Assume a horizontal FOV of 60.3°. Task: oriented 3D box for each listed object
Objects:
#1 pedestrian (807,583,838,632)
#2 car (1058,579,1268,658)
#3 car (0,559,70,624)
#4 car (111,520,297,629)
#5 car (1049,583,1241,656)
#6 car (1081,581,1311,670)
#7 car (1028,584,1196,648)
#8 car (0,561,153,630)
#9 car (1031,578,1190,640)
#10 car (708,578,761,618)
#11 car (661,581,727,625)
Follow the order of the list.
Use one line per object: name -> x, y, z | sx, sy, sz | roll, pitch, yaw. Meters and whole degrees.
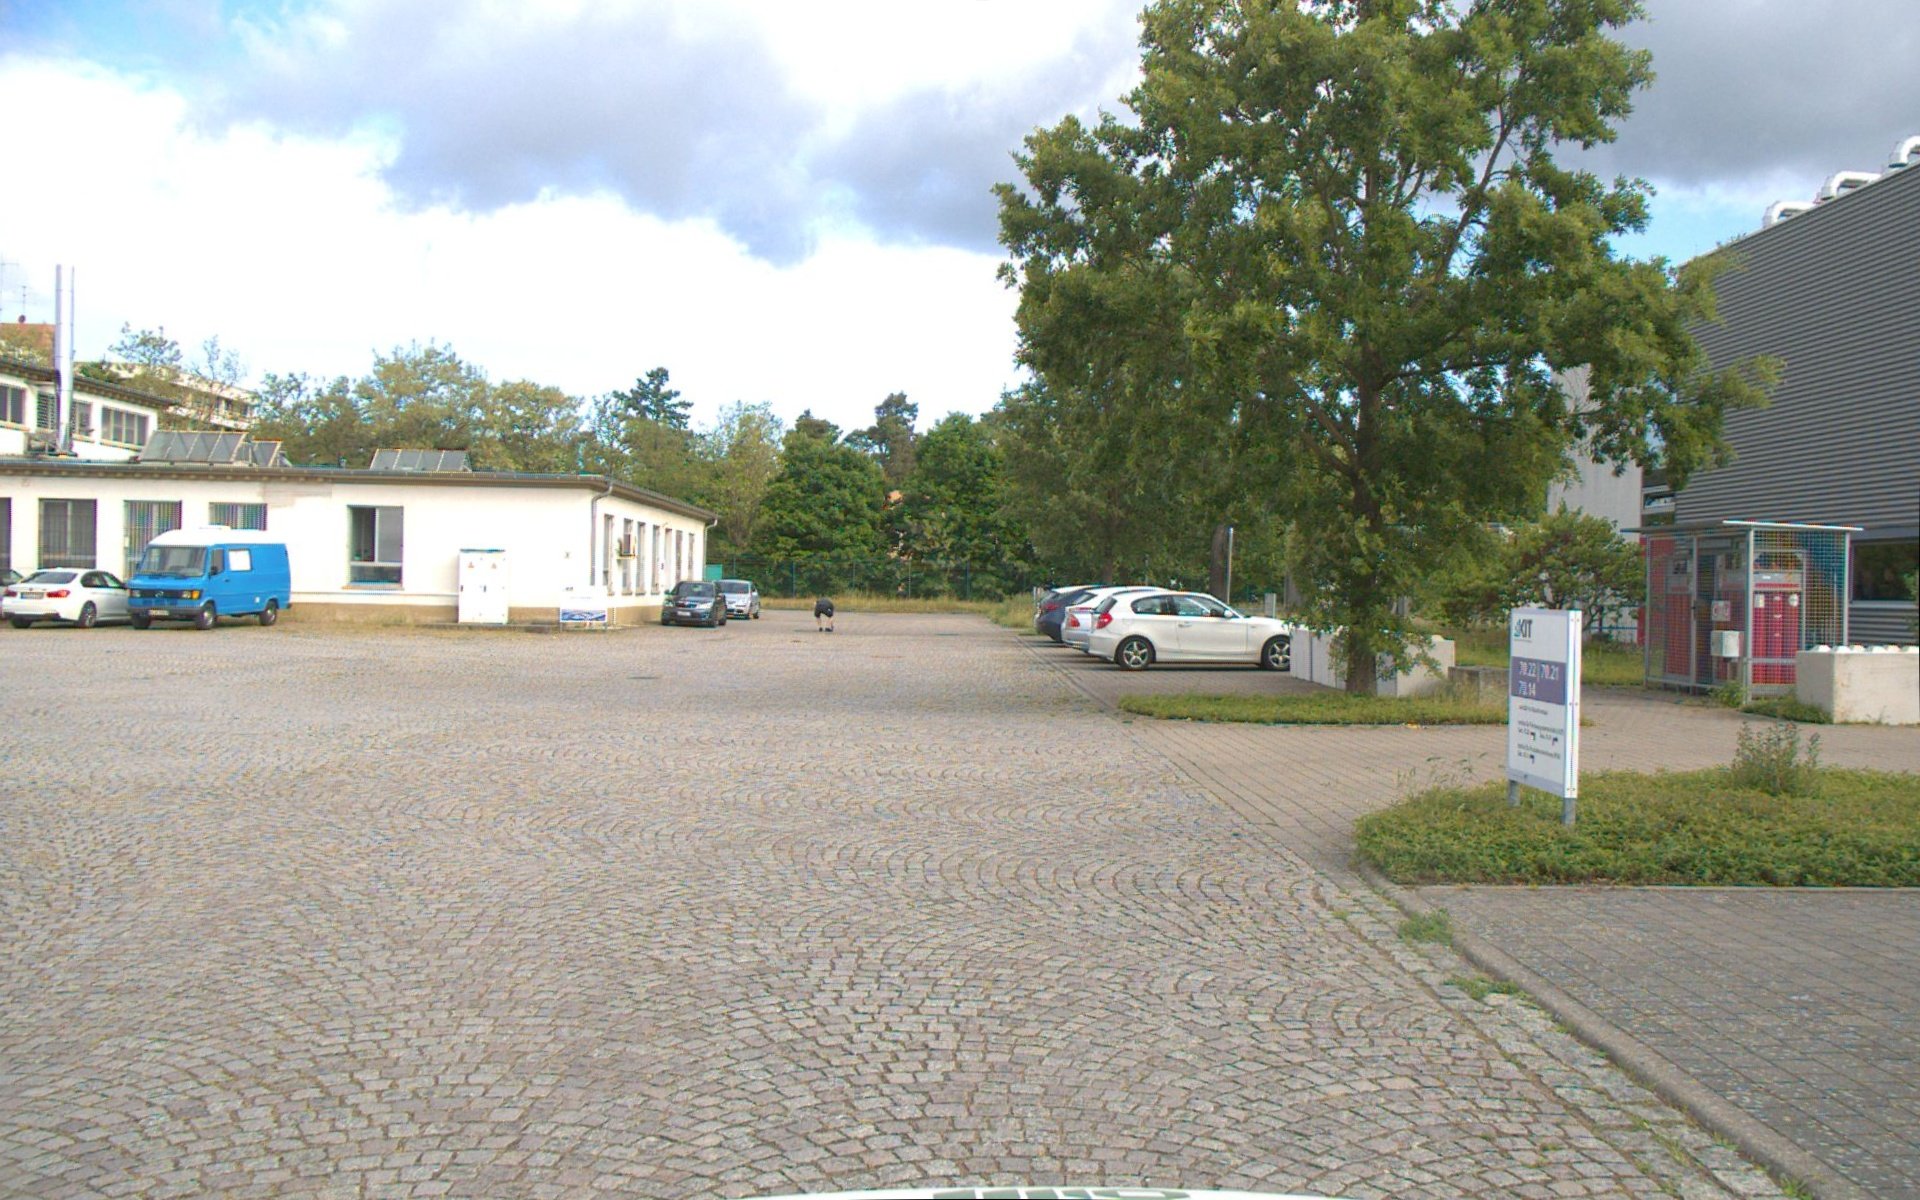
pedestrian -> -4.520, 0.244, 54.480 | 0.921, 1.595, 0.971 | 1, 0, -1
car -> 3.938, 0.349, 32.527 | 3.906, 1.481, 1.697 | 1, 0, -1
car -> -24.527, -0.230, 41.825 | 1.861, 1.602, 4.000 | 1, 0, 0
car -> -19.113, -0.613, 42.149 | 1.952, 2.567, 5.619 | 1, 0, 2
car -> 3.939, 0.405, 35.567 | 3.906, 1.481, 1.769 | 1, 0, -1
car -> 4.266, 0.456, 30.365 | 3.906, 1.481, 2.000 | 2, 0, -1
car -> 3.676, 0.366, 40.465 | 3.906, 1.481, 1.769 | 1, 0, -1
car -> -21.899, -0.111, 40.902 | 1.861, 1.602, 4.000 | 1, 0, 0
car -> 3.939, 0.220, 43.686 | 3.909, 1.560, 1.998 | 1, 0, -5
car -> -8.719, -0.085, 64.191 | 1.714, 1.480, 3.997 | 1, 0, -3
car -> -8.658, 0.080, 54.058 | 1.714, 1.387, 3.997 | 1, 0, -3
